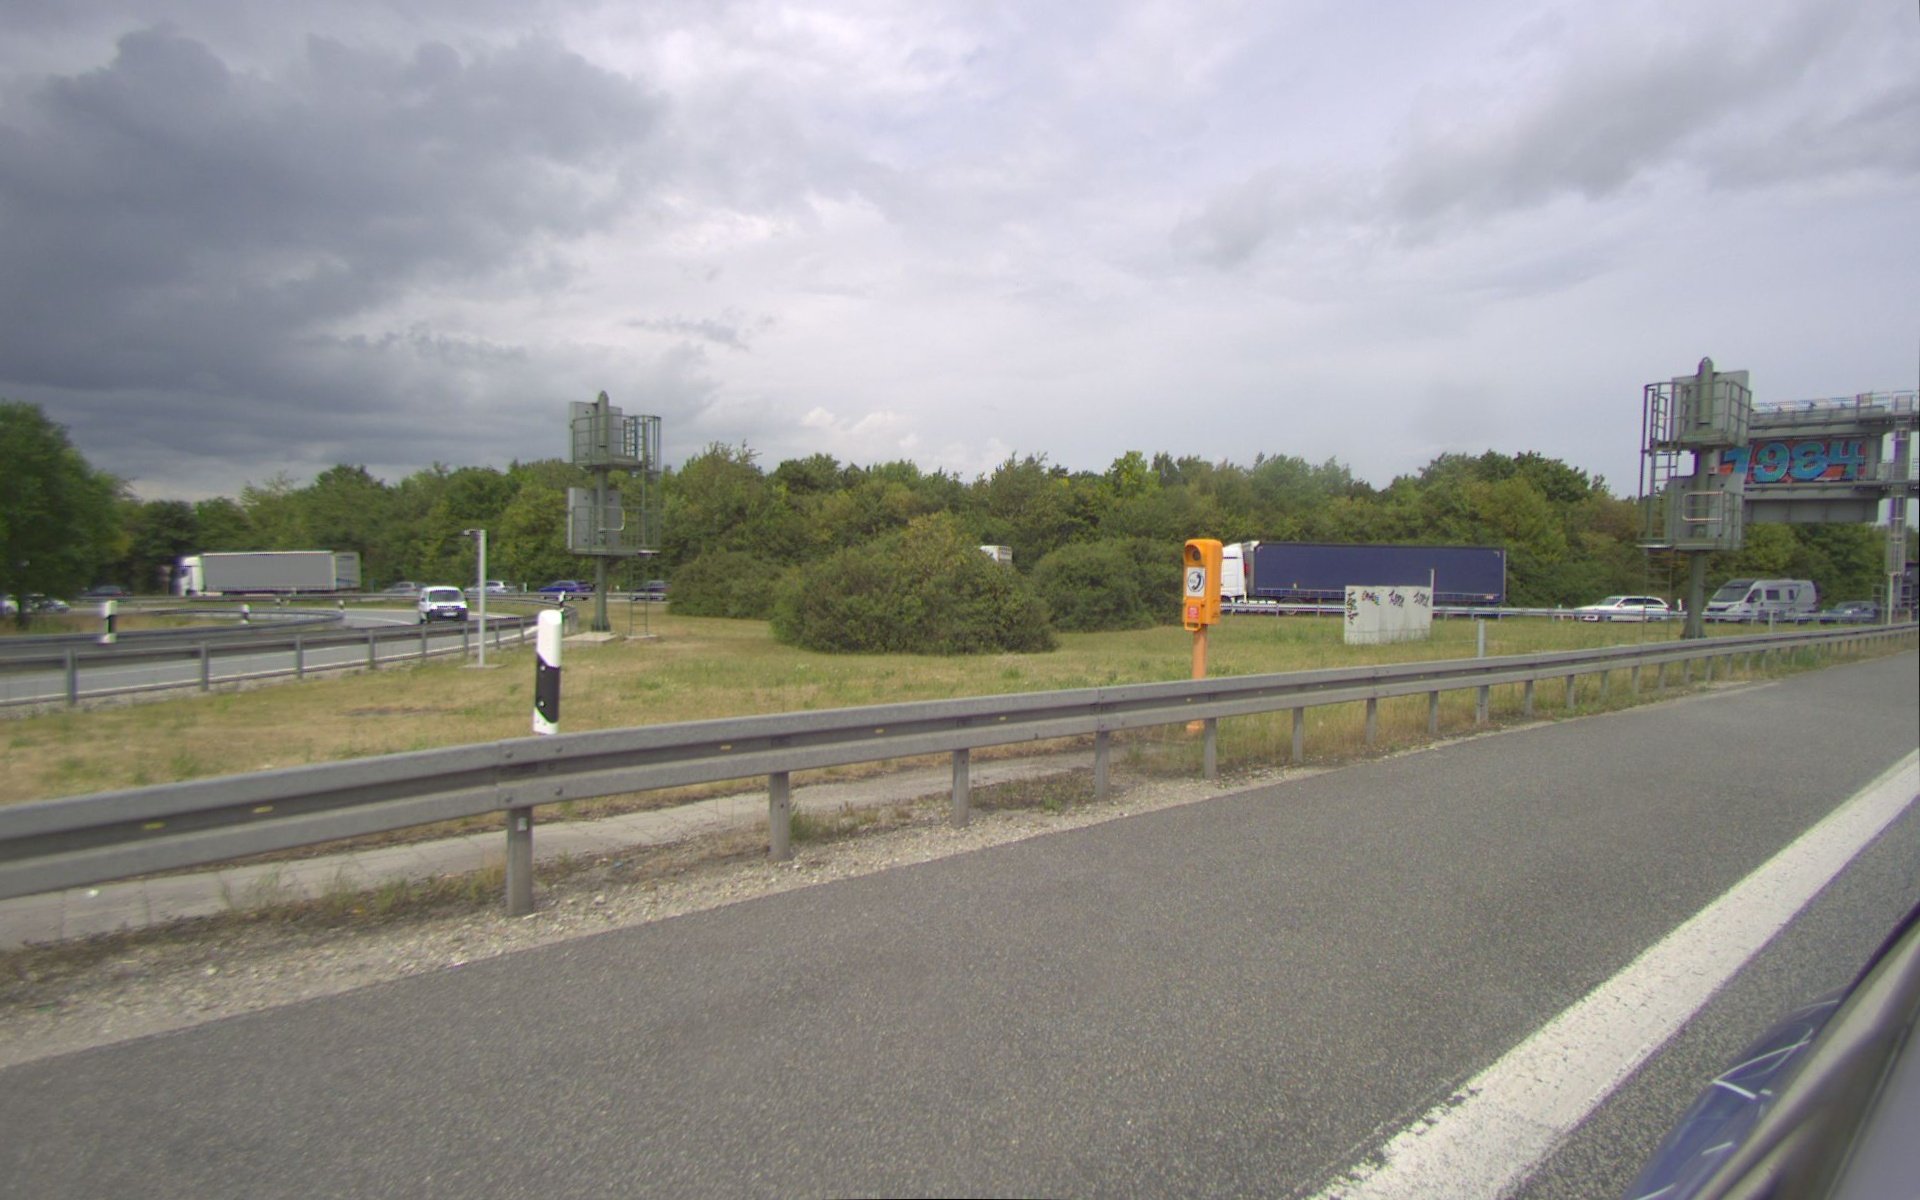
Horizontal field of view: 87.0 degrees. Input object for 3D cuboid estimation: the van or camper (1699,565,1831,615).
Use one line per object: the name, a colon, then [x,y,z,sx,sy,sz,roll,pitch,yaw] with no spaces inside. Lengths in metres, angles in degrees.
van or camper: [43.377,-0.546,54.574,6.031,2.600,2.306,1,1,-13]

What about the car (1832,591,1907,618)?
car: [51.246,0.232,57.030,3.589,1.437,1.738,0,1,-22]

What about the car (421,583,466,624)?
car: [-24.495,0.157,47.910,1.764,1.772,4.004,-2,1,-28]

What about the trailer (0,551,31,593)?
trailer: [-86.580,-2.360,85.915,11.446,3.492,3.139,0,0,-10]

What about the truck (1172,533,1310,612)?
truck: [15.326,-1.492,55.647,6.664,4.146,3.369,1,1,2]

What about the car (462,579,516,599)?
car: [-36.275,-0.857,77.952,3.957,1.552,1.558,0,1,24]

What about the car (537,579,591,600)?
car: [-29.000,-0.747,74.091,3.963,1.487,1.485,0,1,29]

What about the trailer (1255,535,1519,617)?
trailer: [23.052,-1.328,55.223,12.796,4.246,3.339,1,1,4]

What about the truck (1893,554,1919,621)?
truck: [61.914,-0.725,62.471,10.128,4.004,3.031,0,1,-27]

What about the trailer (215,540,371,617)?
trailer: [-55.640,-1.741,84.453,11.919,6.165,4.000,0,0,15]

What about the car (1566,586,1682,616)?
car: [34.991,0.038,53.419,4.692,1.520,2.216,1,1,-4]

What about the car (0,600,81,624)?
car: [-67.840,0.911,74.466,4.430,1.772,1.802,0,-1,-11]

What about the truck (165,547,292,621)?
truck: [-62.290,-1.331,86.251,8.845,6.150,4.051,0,0,14]

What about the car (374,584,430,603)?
car: [-44.809,-0.532,81.282,3.948,1.505,1.823,0,1,19]

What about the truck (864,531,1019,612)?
truck: [-1.105,-1.681,61.099,8.875,4.673,3.263,0,0,19]
